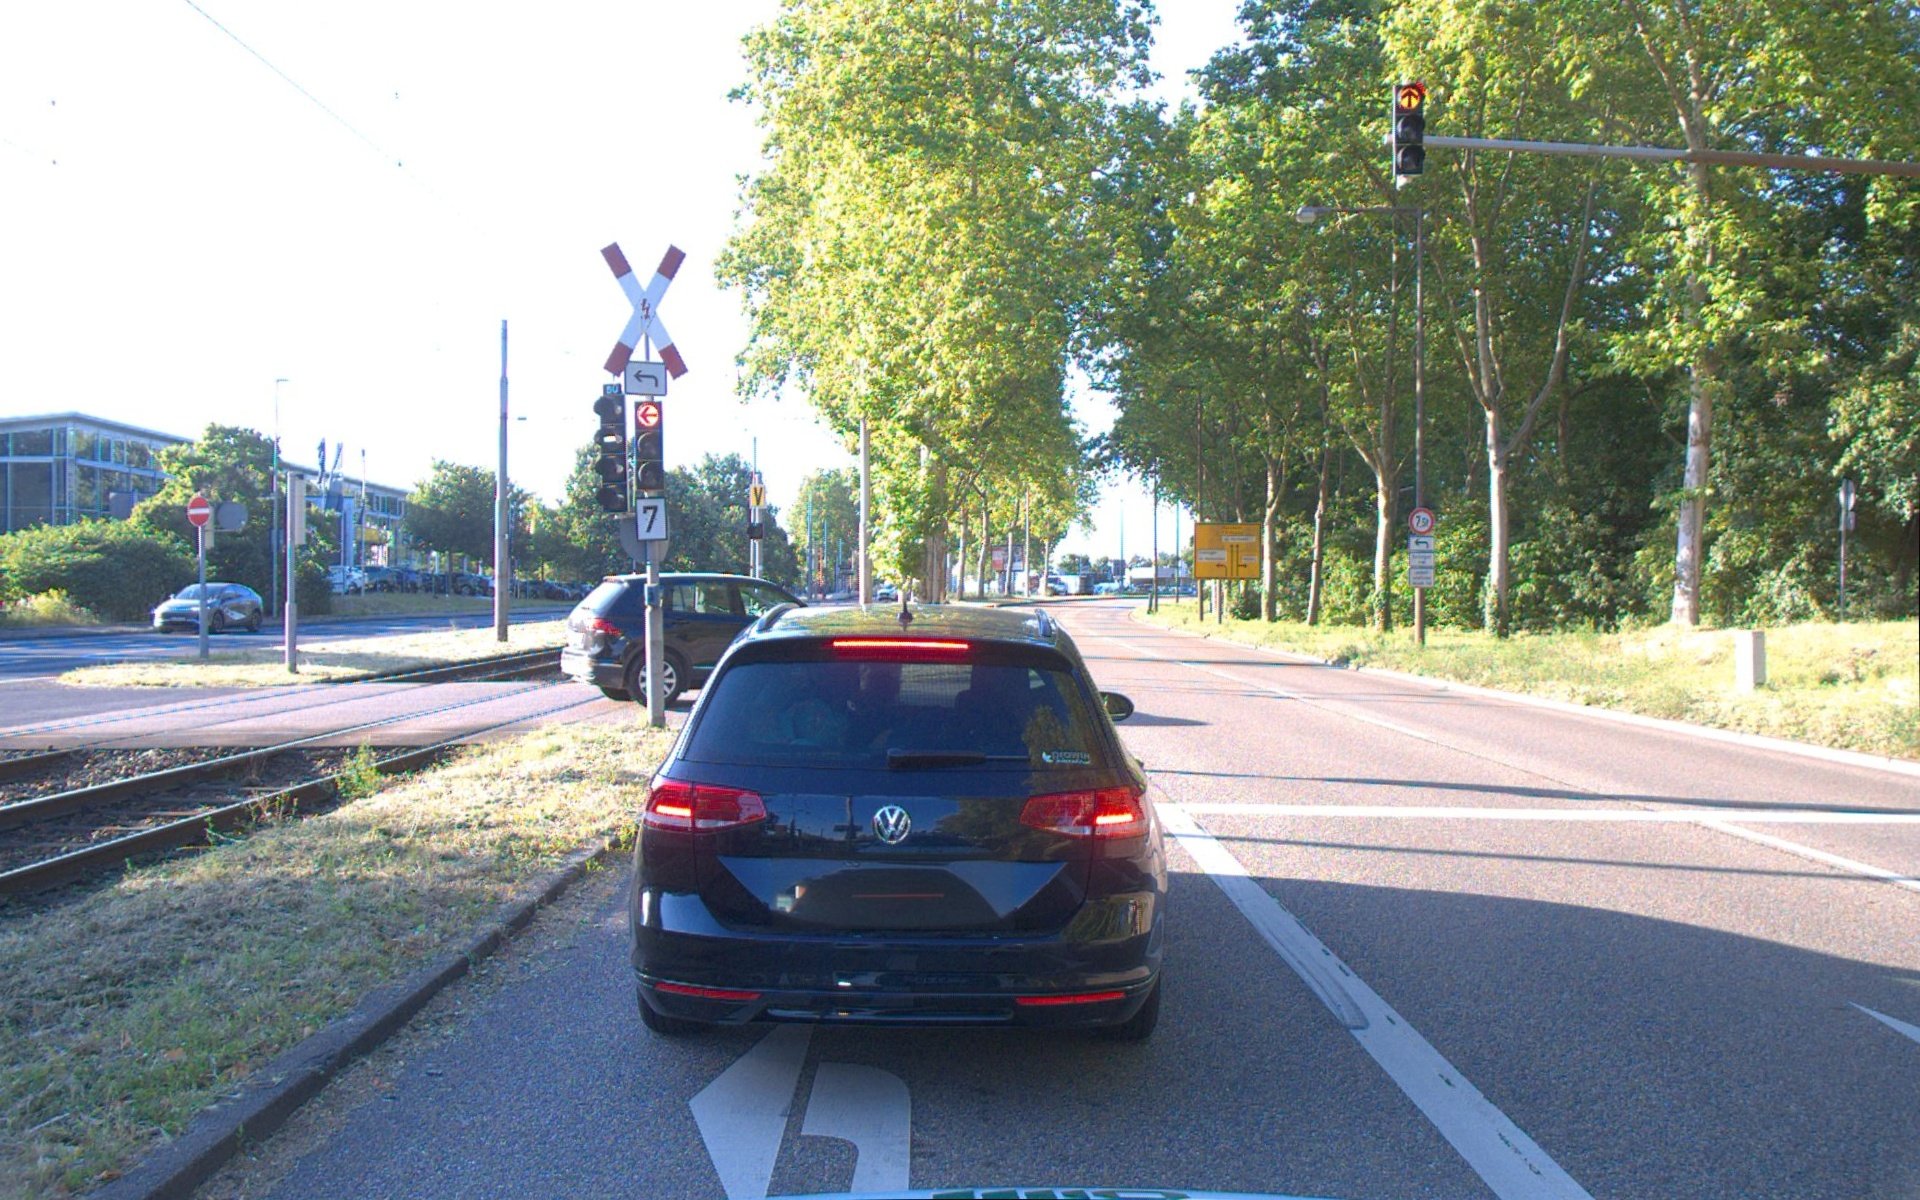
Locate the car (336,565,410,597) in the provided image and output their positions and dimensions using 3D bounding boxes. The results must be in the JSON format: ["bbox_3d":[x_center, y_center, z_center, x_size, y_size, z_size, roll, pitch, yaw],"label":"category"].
[{"bbox_3d":[-33.695,-1.071,94.967,3.930,1.734,1.732,1,0,-22],"label":"car"}]

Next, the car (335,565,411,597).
[{"bbox_3d":[-32.912,-1.061,92.728,3.930,1.734,1.732,1,0,-22],"label":"car"}]

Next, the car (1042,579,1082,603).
[{"bbox_3d":[10.914,-0.964,176.474,2.054,2.504,5.847,1,1,26],"label":"car"}]

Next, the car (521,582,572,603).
[{"bbox_3d":[-34.553,-0.637,138.240,3.909,1.649,1.742,1,0,-6],"label":"car"}]

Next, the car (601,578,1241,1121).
[{"bbox_3d":[-0.141,0.694,6.404,1.758,1.490,3.582,1,0,-1],"label":"car"}]

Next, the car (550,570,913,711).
[{"bbox_3d":[-2.936,0.460,21.340,4.302,1.663,1.863,0,0,-26],"label":"car"}]

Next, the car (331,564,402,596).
[{"bbox_3d":[-35.550,-1.167,99.030,3.930,1.848,1.732,1,0,-22],"label":"car"}]

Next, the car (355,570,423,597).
[{"bbox_3d":[-35.203,-0.995,101.945,3.930,1.583,1.732,1,0,-22],"label":"car"}]

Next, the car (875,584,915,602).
[{"bbox_3d":[-5.456,-0.602,139.029,1.824,1.507,4.091,1,1,21],"label":"car"}]

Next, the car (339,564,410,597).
[{"bbox_3d":[-34.443,-1.134,97.292,3.930,1.848,1.732,1,0,-22],"label":"car"}]

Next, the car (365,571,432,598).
[{"bbox_3d":[-35.544,-0.969,104.723,3.930,1.583,1.732,1,0,-22],"label":"car"}]

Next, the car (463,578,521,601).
[{"bbox_3d":[-35.242,-0.785,124.483,3.909,1.649,1.742,1,0,-6],"label":"car"}]

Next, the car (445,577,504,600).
[{"bbox_3d":[-35.572,-0.826,121.267,3.909,1.649,1.742,1,0,-6],"label":"car"}]

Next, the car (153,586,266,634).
[{"bbox_3d":[-25.276,0.309,55.851,1.823,1.507,4.172,1,1,1],"label":"car"}]

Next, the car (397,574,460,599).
[{"bbox_3d":[-35.709,-0.903,111.118,3.930,1.583,1.732,1,0,-22],"label":"car"}]

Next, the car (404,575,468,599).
[{"bbox_3d":[-36.041,-0.882,113.813,3.913,1.583,1.740,1,0,-9],"label":"car"}]

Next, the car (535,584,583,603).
[{"bbox_3d":[-35.222,-0.579,145.386,3.909,1.649,1.742,1,0,-6],"label":"car"}]

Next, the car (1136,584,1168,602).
[{"bbox_3d":[23.487,-0.841,201.888,2.056,2.101,4.870,1,1,30],"label":"car"}]
